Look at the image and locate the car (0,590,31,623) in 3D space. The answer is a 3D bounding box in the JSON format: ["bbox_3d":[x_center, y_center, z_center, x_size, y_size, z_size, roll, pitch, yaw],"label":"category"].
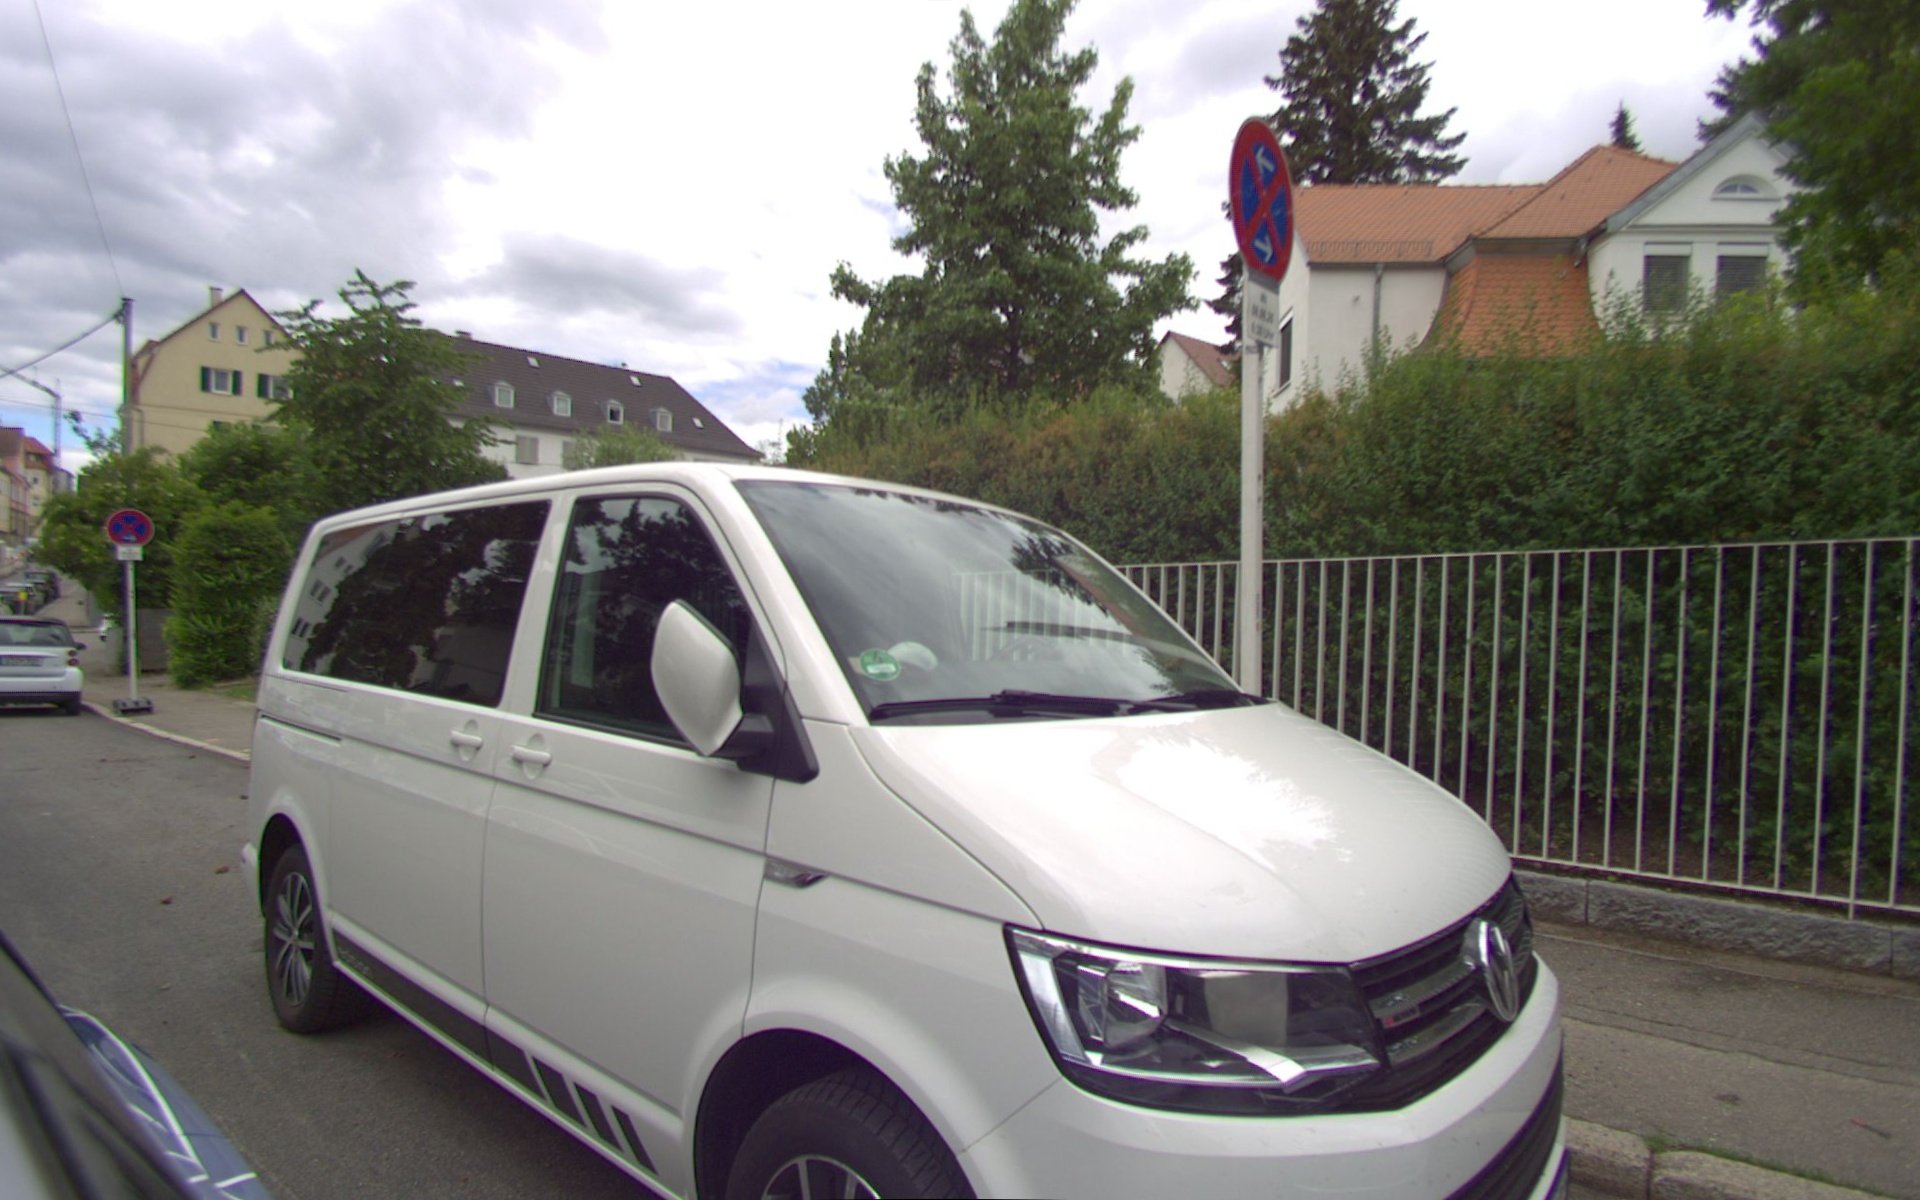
[{"bbox_3d":[-49.638,0.289,52.495,1.779,1.491,4.338,1,2,-38],"label":"car"}]

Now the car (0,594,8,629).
[{"bbox_3d":[-43.825,0.501,45.136,1.586,1.464,3.621,4,-1,-38],"label":"car"}]

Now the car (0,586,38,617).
[{"bbox_3d":[-52.585,0.049,56.247,1.618,1.439,4.132,3,1,-38],"label":"car"}]

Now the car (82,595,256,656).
[{"bbox_3d":[-25.132,0.753,32.402,1.811,1.667,4.510,-1,2,4],"label":"car"}]

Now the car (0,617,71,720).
[{"bbox_3d":[-15.514,1.068,16.487,1.425,1.564,2.772,4,-4,-42],"label":"car"}]

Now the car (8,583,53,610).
[{"bbox_3d":[-54.810,-0.229,59.722,1.618,1.409,3.711,1,2,-38],"label":"car"}]

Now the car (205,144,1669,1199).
[{"bbox_3d":[-0.645,0.550,3.235,4.617,1.928,1.835,-1,-3,41],"label":"car"}]

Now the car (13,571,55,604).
[{"bbox_3d":[-58.302,-0.834,63.763,1.727,1.810,4.157,2,2,-40],"label":"car"}]
